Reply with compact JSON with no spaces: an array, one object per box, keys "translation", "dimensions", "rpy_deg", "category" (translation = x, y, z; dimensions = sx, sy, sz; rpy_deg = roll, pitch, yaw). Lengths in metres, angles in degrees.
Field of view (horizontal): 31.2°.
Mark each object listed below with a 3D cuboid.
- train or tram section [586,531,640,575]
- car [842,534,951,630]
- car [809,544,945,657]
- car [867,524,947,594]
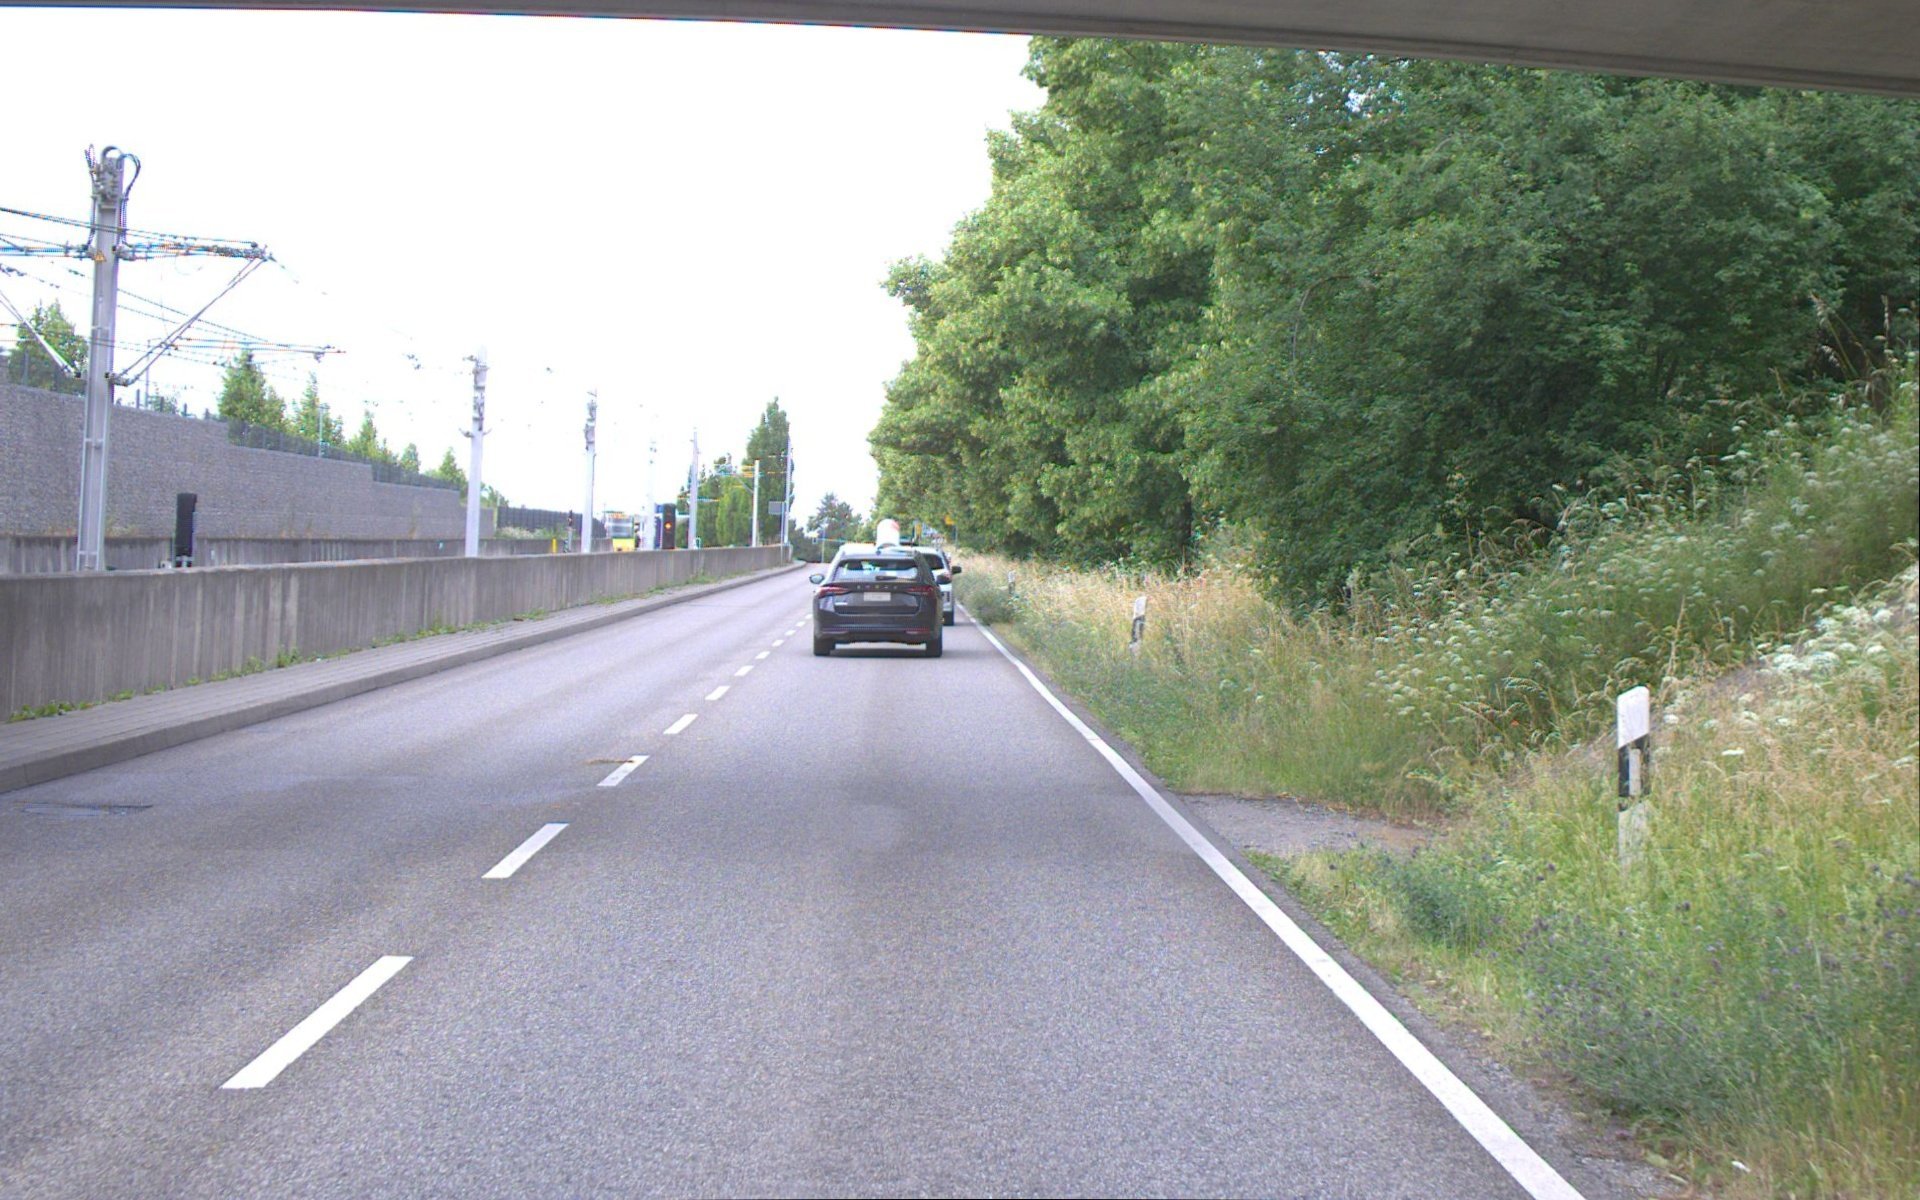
[{"translation":[-26.711,-3.537,263.831],"dimensions":[2.811,3.106,18.920],"rpy_deg":[1,0,-9],"category":"train or tram section"},{"translation":[-1.216,-0.366,65.769],"dimensions":[1.993,1.747,4.000],"rpy_deg":[1,1,-1],"category":"car"},{"translation":[-1.131,-0.028,47.547],"dimensions":[1.781,1.463,4.000],"rpy_deg":[1,1,-1],"category":"car"},{"translation":[-1.380,-1.048,89.145],"dimensions":[1.993,1.734,4.000],"rpy_deg":[1,0,-1],"category":"car"}]
